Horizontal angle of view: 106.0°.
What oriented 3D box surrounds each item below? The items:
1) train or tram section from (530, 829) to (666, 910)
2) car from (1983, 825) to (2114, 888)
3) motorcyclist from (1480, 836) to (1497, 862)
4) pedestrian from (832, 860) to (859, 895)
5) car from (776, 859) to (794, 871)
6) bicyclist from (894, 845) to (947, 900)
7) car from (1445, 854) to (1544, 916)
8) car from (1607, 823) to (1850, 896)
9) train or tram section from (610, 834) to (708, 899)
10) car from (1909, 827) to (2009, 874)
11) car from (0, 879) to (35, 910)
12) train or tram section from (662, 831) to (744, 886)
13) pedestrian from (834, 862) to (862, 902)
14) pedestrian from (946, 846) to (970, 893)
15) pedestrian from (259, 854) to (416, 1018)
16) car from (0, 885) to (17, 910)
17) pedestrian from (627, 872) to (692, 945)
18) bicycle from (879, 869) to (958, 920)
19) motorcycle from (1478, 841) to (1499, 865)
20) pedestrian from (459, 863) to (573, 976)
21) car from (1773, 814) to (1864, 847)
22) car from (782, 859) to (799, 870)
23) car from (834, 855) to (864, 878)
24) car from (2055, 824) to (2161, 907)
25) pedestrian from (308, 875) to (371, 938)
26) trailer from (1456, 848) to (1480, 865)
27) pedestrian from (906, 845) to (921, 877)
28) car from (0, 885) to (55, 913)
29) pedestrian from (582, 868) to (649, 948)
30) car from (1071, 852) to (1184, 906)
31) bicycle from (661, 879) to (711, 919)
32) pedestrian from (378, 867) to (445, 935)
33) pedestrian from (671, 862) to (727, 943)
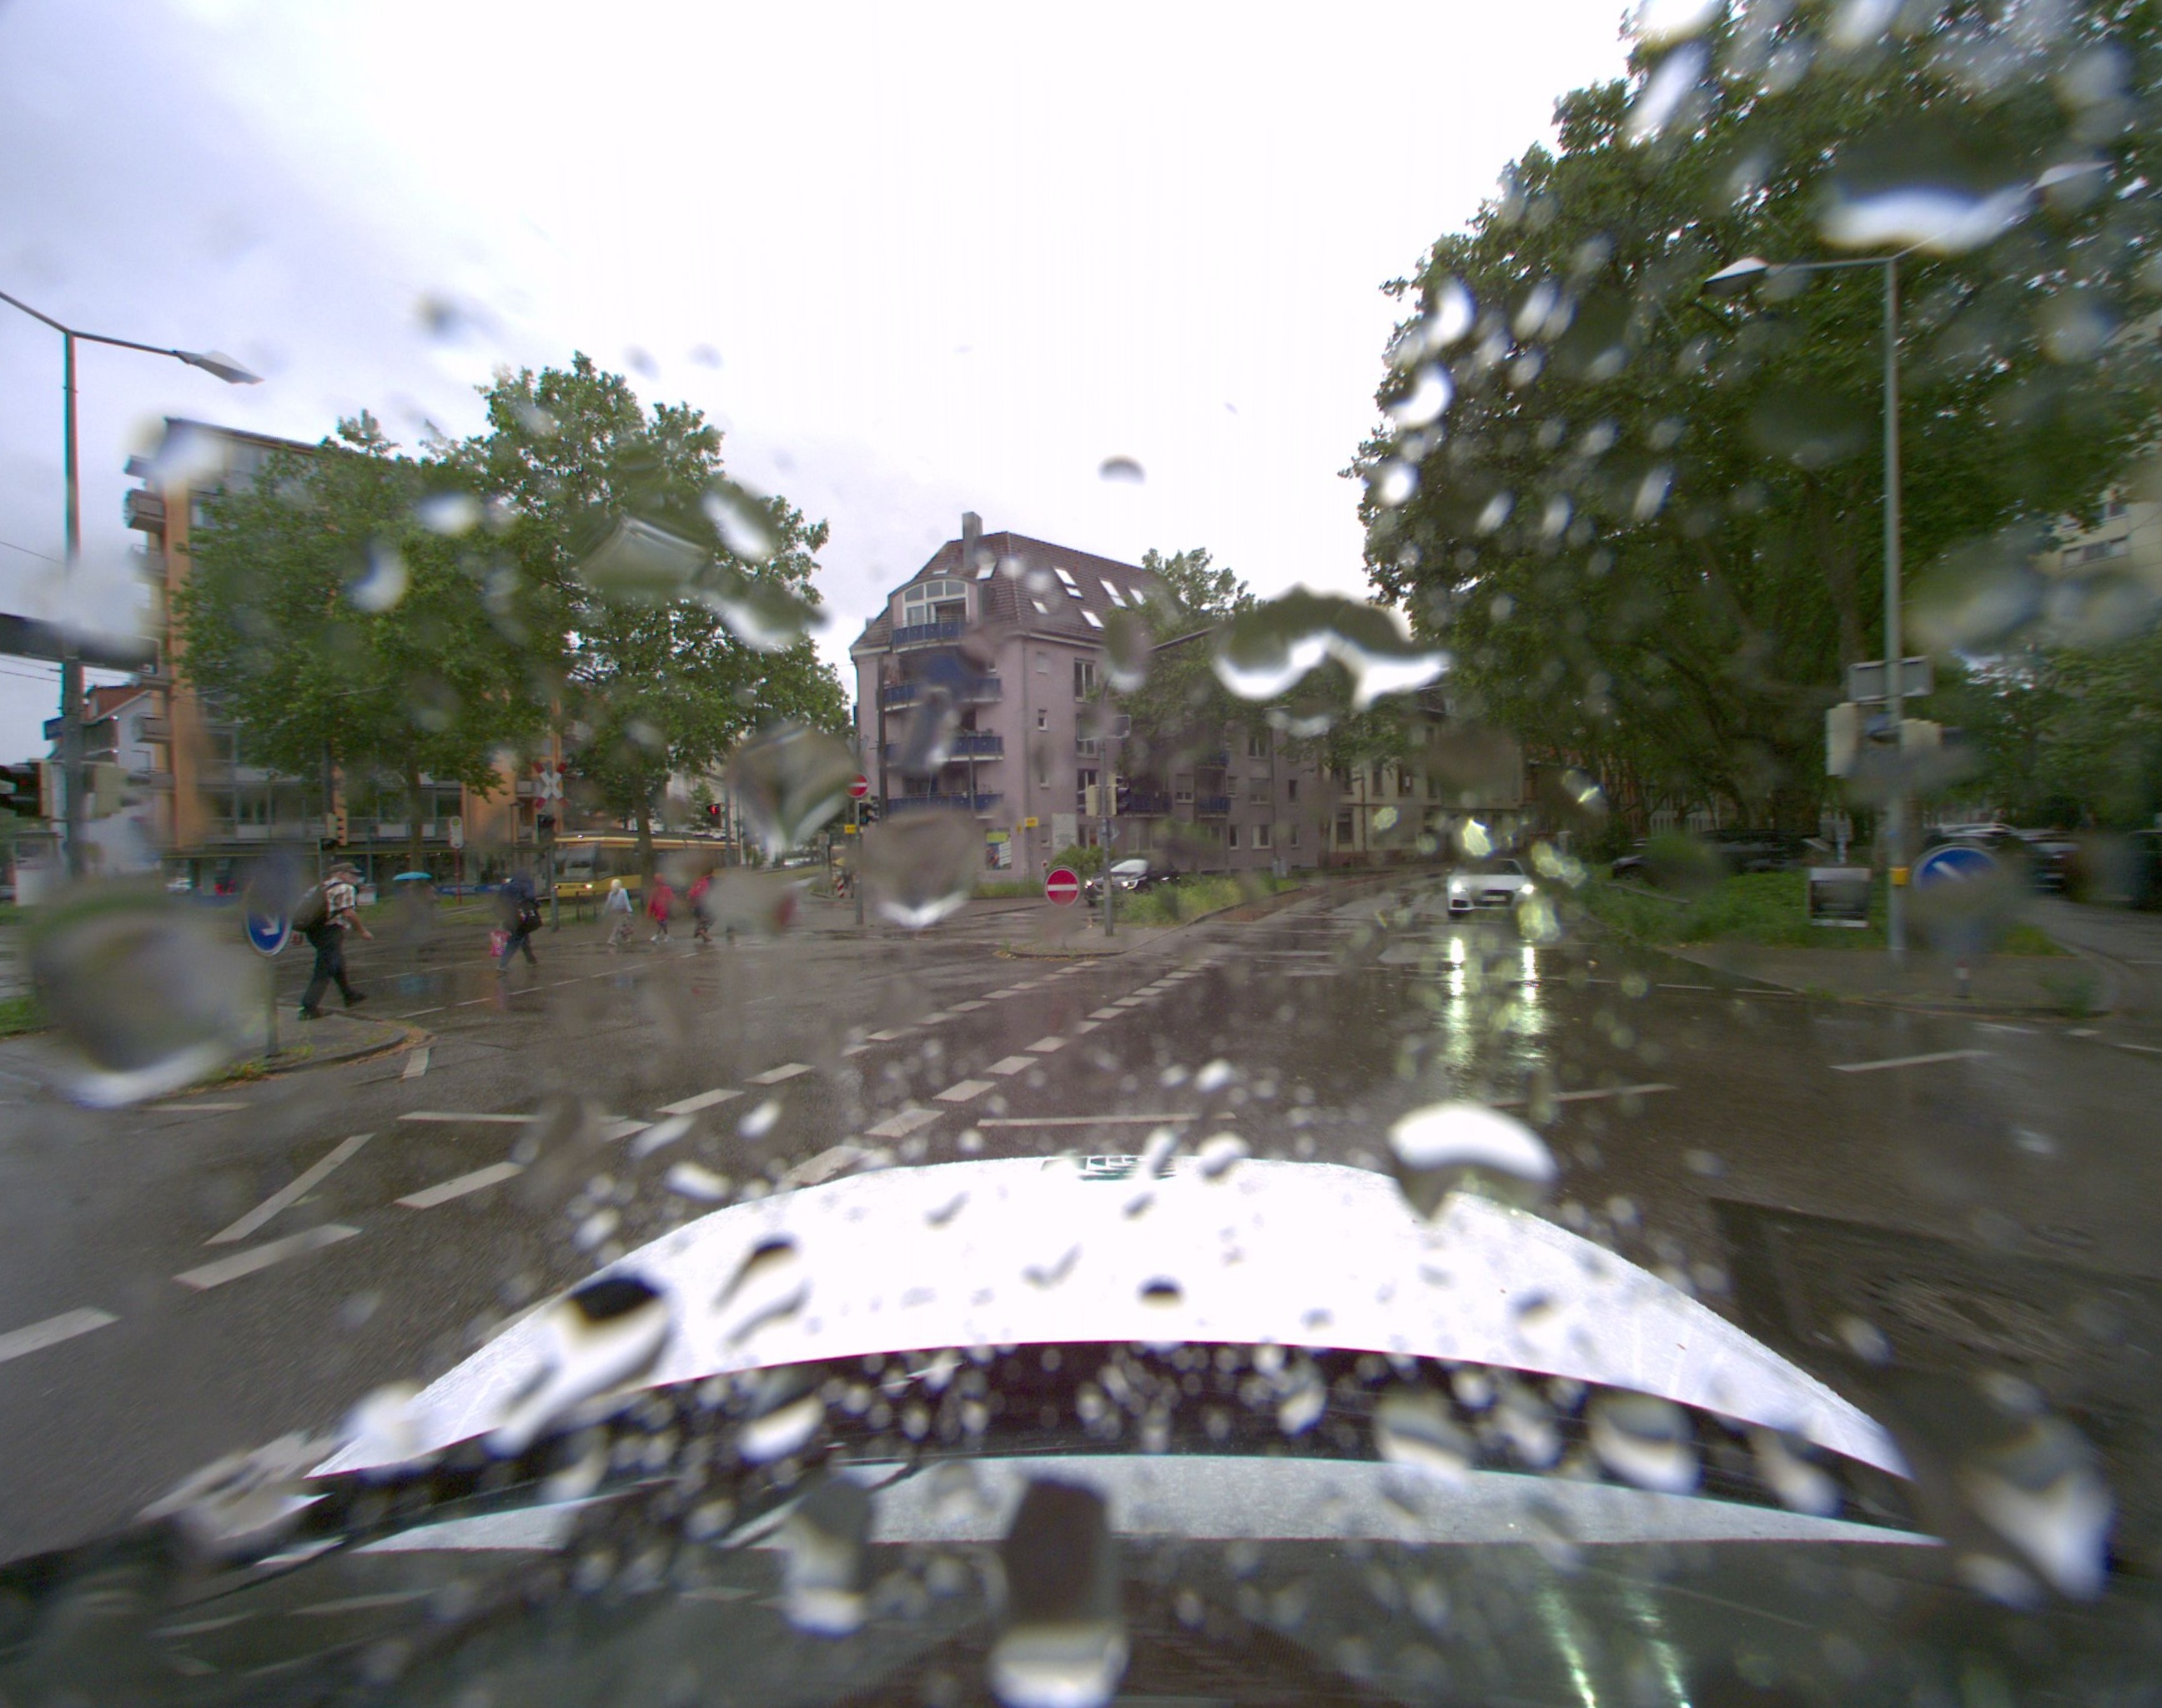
[{"bbox_3d":[-22.492,0.644,38.533,2.637,3.369,8.348,-1,0,-10],"label":"train or tram section"},{"bbox_3d":[26.305,0.046,22.276,1.817,1.596,3.507,-1,0,42],"label":"car"},{"bbox_3d":[21.661,-0.276,43.274,0.748,1.351,0.759,-1,0,29],"label":"motorcyclist"},{"bbox_3d":[-12.458,1.213,43.103,1.170,1.788,0.886,-1,0,-30],"label":"pedestrian"},{"bbox_3d":[-41.498,1.503,114.348,1.997,1.533,3.979,-1,0,-15],"label":"car"},{"bbox_3d":[-4.018,0.452,20.385,1.063,1.309,0.747,-1,1,37],"label":"bicyclist"},{"bbox_3d":[9.767,0.672,19.496,1.880,1.275,4.196,-1,0,24],"label":"car"},{"bbox_3d":[16.582,0.135,21.121,1.881,1.664,4.557,-1,0,-31],"label":"car"},{"bbox_3d":[-23.955,0.651,46.737,2.638,3.351,8.345,-1,0,-11],"label":"train or tram section"},{"bbox_3d":[32.379,-0.144,30.153,1.907,1.633,4.025,-1,0,38],"label":"car"},{"bbox_3d":[-67.289,2.591,49.550,1.919,1.805,4.273,-2,1,32],"label":"car"},{"bbox_3d":[-25.611,0.299,55.713,2.638,3.351,9.950,-1,0,-11],"label":"train or tram section"},{"bbox_3d":[-9.590,1.142,33.568,0.992,1.559,0.781,-2,0,-12],"label":"pedestrian"},{"bbox_3d":[-4.872,0.604,32.262,0.635,1.803,0.625,-1,1,23],"label":"pedestrian"},{"bbox_3d":[-8.634,0.912,9.505,0.804,1.781,0.997,-2,1,10],"label":"pedestrian"},{"bbox_3d":[-69.659,2.834,50.548,1.864,1.568,4.230,-2,0,33],"label":"car"},{"bbox_3d":[-8.527,1.088,16.519,0.668,1.381,1.012,-2,1,5],"label":"pedestrian"},{"bbox_3d":[-4.088,0.995,20.467,2.015,1.173,0.758,-1,1,37],"label":"bicycle"},{"bbox_3d":[21.685,-0.066,43.303,0.870,1.215,2.087,-1,0,29],"label":"motorcycle"},{"bbox_3d":[-9.070,1.025,13.113,0.985,1.686,1.061,-2,1,18],"label":"pedestrian"},{"bbox_3d":[63.764,-1.951,70.606,1.993,2.649,5.954,-1,0,-8],"label":"car"},{"bbox_3d":[-42.764,1.539,119.978,1.997,1.398,3.979,-1,0,-15],"label":"car"},{"bbox_3d":[-19.033,0.998,66.949,1.995,1.673,3.983,-2,1,-12],"label":"car"},{"bbox_3d":[22.902,0.176,17.116,1.915,1.608,4.484,-1,0,34],"label":"car"},{"bbox_3d":[-22.155,1.541,24.335,1.221,1.788,1.045,-1,0,31],"label":"pedestrian"},{"bbox_3d":[20.794,0.132,43.763,1.014,0.842,1.492,-1,0,30],"label":"trailer"},{"bbox_3d":[-8.397,0.357,40.852,0.468,1.602,0.596,-1,0,14],"label":"pedestrian"},{"bbox_3d":[-61.921,2.633,46.117,1.957,1.470,4.578,-2,1,35],"label":"car"},{"bbox_3d":[-9.541,1.077,16.742,0.877,1.525,1.060,-2,1,-13],"label":"pedestrian"},{"bbox_3d":[1.535,0.703,25.184,1.970,1.461,4.203,-1,0,26],"label":"car"},{"bbox_3d":[-11.897,1.344,24.578,0.442,1.077,1.623,-2,0,10],"label":"bicycle"},{"bbox_3d":[-19.572,1.343,23.822,1.367,1.865,1.182,-1,0,35],"label":"pedestrian"},{"bbox_3d":[-7.699,0.956,16.441,0.687,1.547,0.762,-2,1,2],"label":"pedestrian"}]
